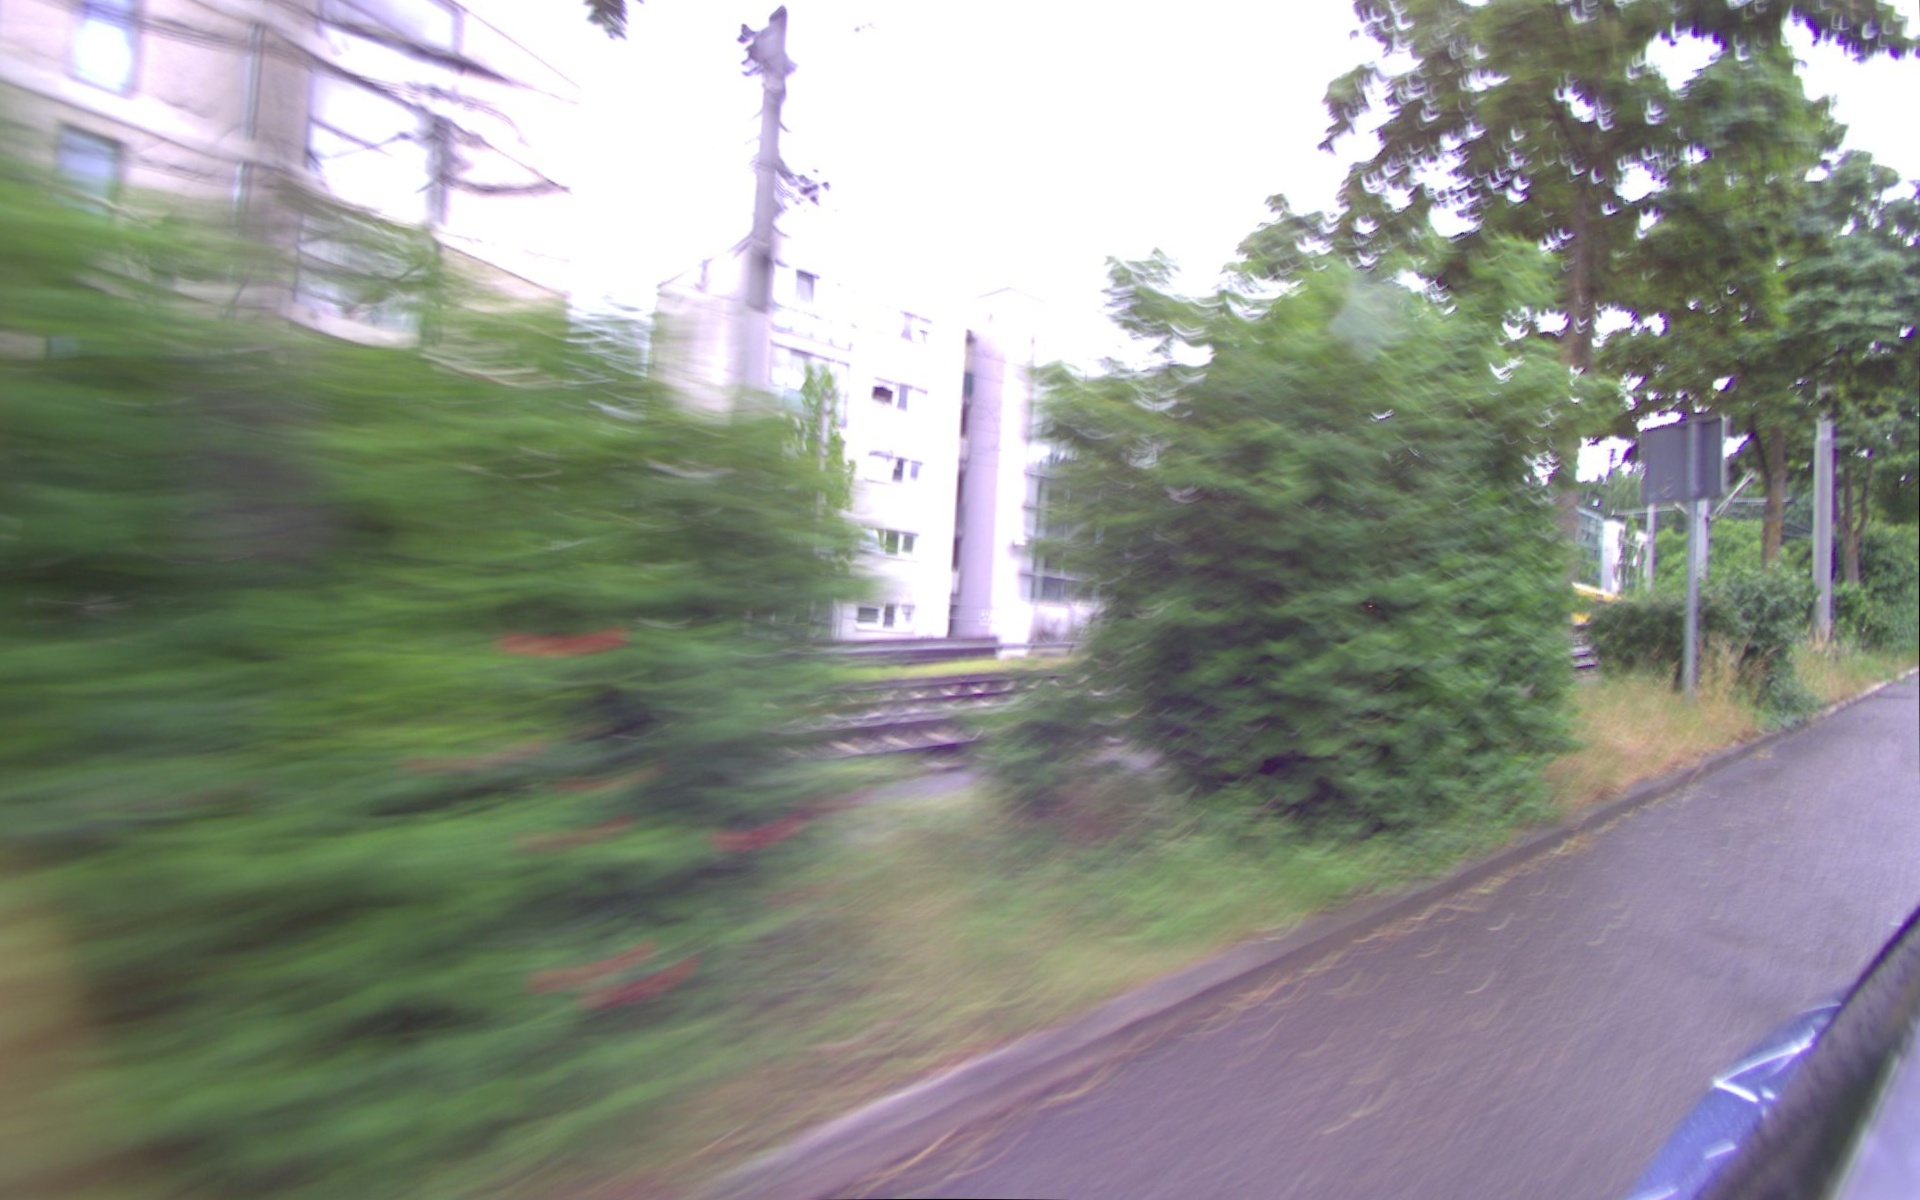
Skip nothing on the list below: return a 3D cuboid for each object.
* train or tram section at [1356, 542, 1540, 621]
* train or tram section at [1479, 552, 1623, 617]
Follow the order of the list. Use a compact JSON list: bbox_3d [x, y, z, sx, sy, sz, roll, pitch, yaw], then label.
[{"bbox_3d":[25.389,-0.862,51.947,14.250,3.606,3.202,0,1,-41],"label":"train or tram section"},{"bbox_3d":[36.109,-0.851,61.406,14.598,3.542,3.111,0,1,-41],"label":"train or tram section"}]
